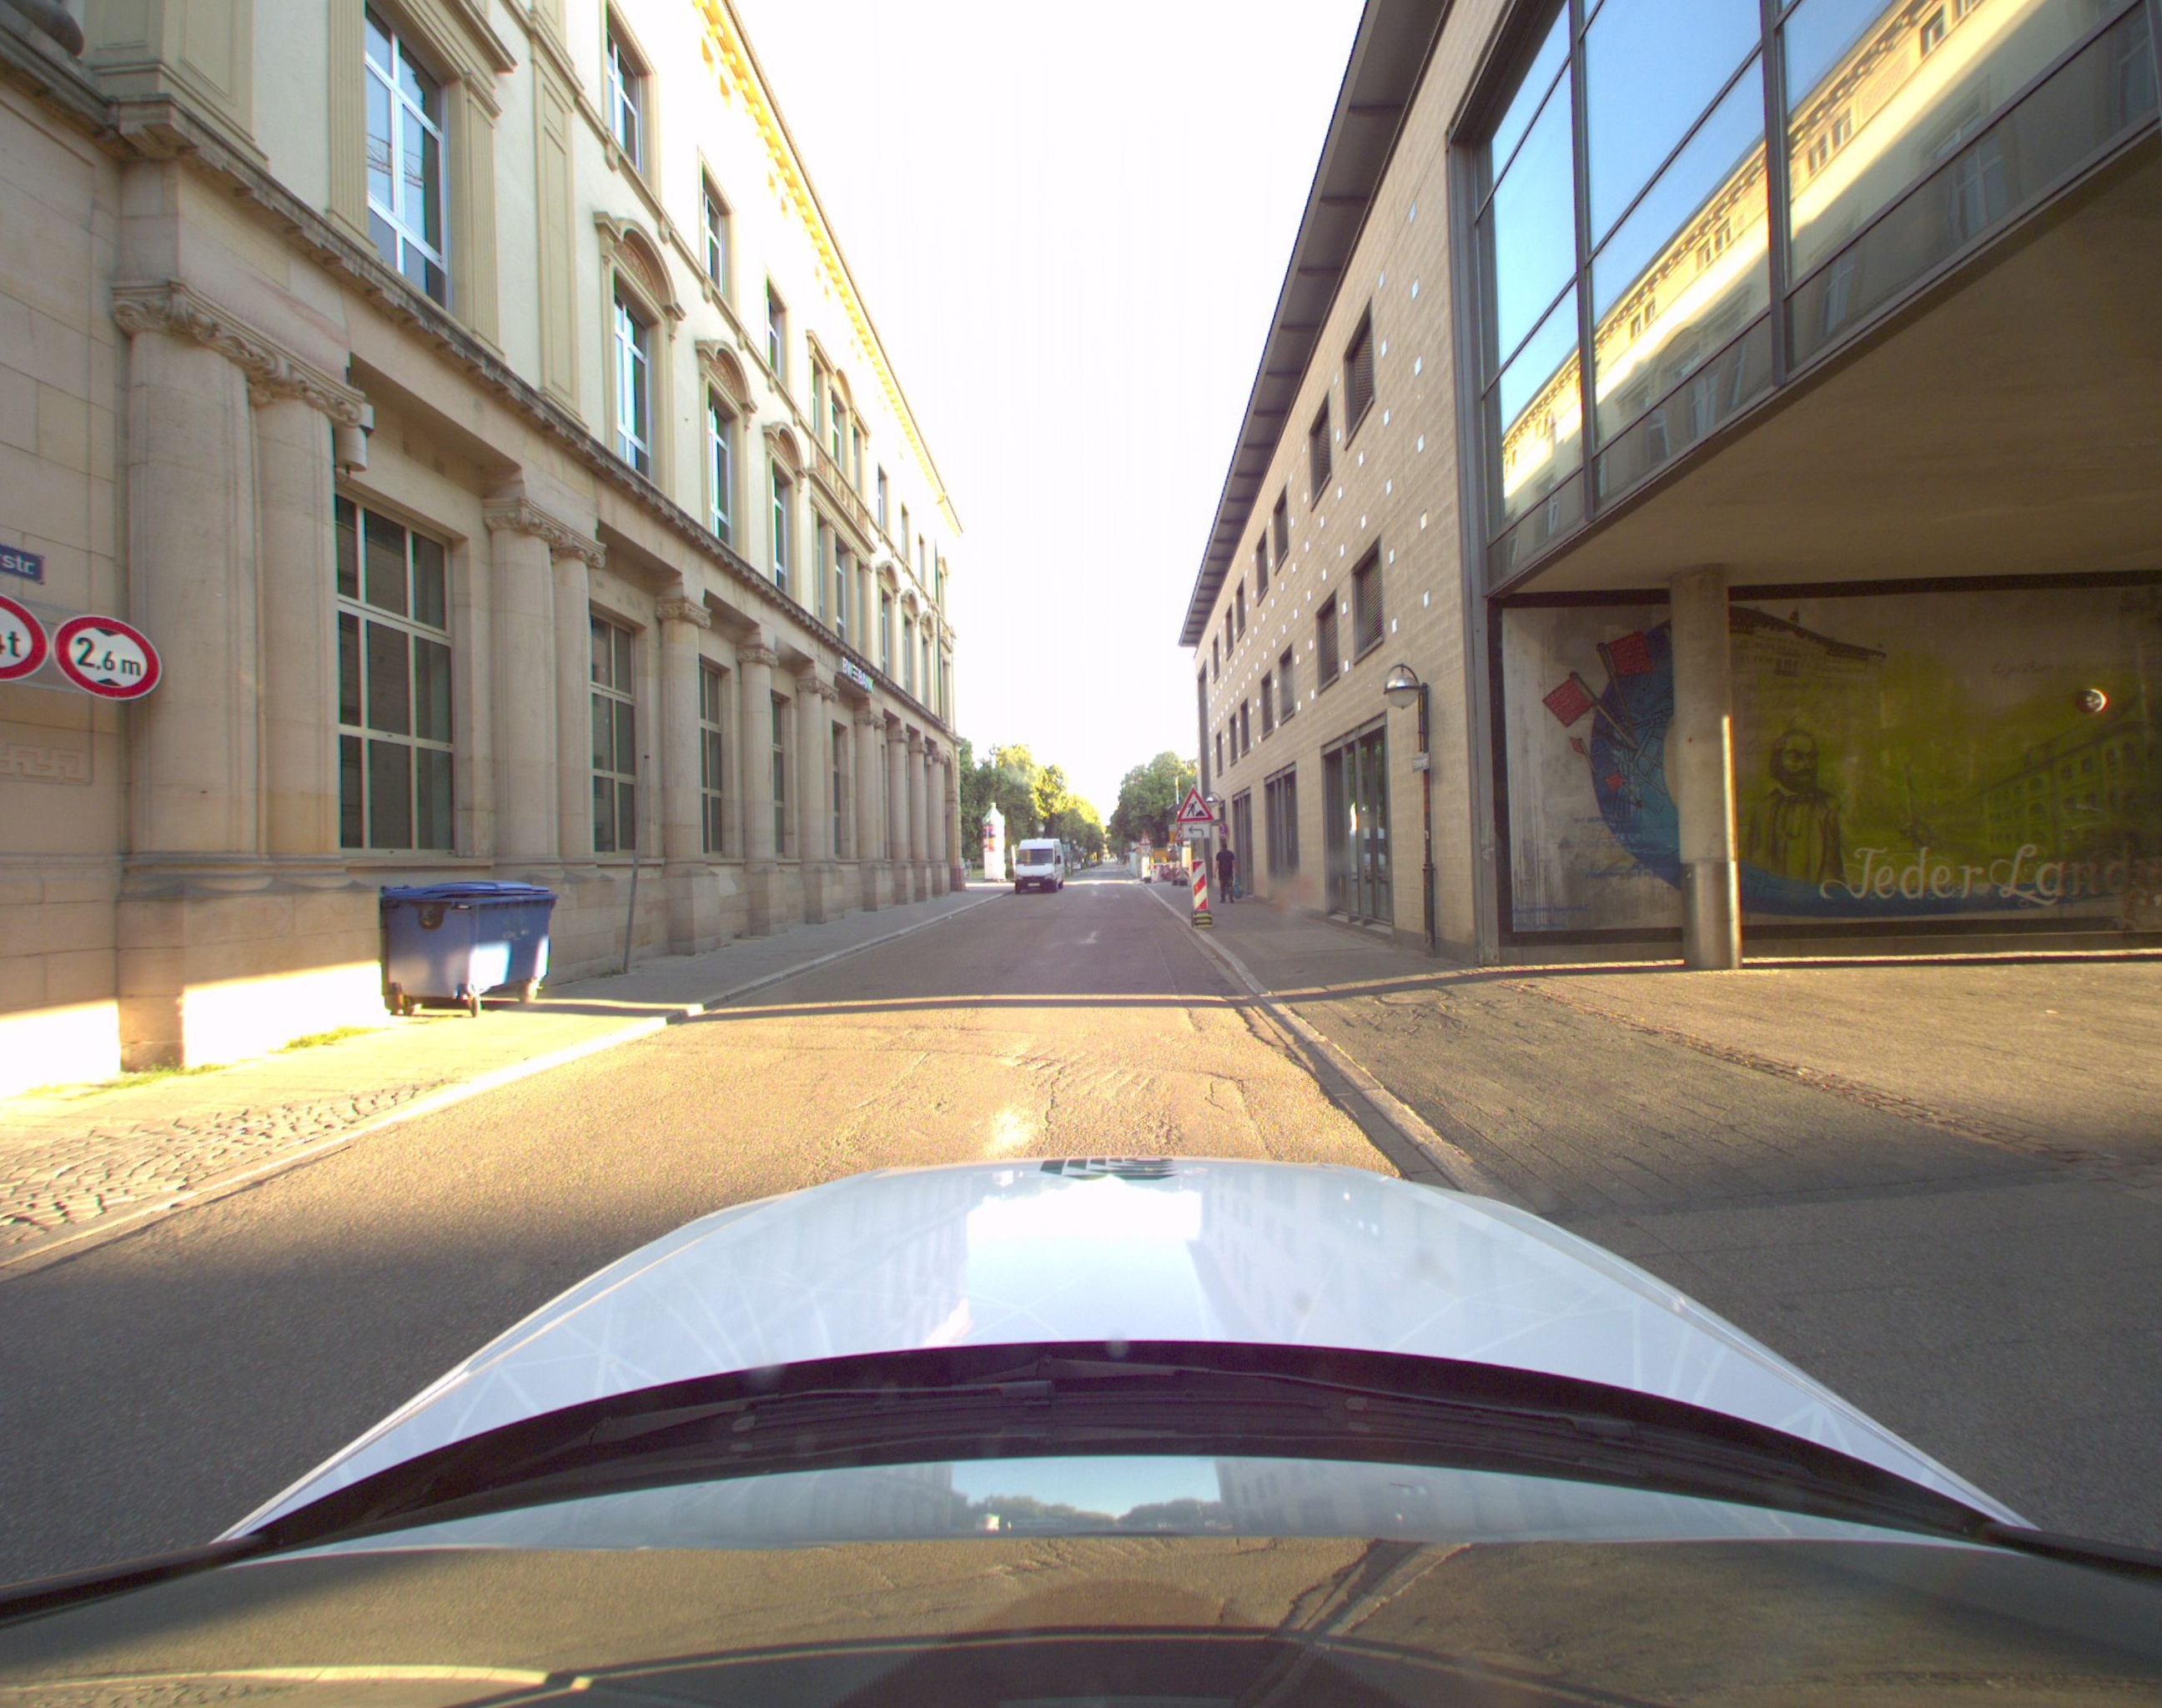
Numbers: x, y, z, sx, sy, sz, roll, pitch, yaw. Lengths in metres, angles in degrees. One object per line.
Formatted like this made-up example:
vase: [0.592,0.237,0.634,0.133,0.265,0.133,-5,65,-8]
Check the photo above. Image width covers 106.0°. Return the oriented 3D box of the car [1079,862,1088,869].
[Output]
car: [0.476,2.053,148.872,1.462,1.256,3.680,-1,0,2]

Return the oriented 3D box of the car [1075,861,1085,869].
car: [-0.190,1.907,136.590,1.462,1.256,3.680,-1,0,2]

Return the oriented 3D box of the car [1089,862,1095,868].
car: [2.979,2.931,216.568,1.462,1.404,3.680,-1,0,2]

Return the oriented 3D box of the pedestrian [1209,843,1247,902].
pedestrian: [4.361,0.540,24.198,0.919,1.702,0.869,-3,-1,1]

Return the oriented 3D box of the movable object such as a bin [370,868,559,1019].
movable object such as a bin: [-6.502,0.897,8.677,1.068,1.475,1.189,0,-1,5]

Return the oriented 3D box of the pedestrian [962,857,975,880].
pedestrian: [-8.603,1.078,62.251,0.742,1.702,0.704,-3,-1,9]

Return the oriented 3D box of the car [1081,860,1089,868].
car: [0.802,1.948,161.960,1.462,1.404,3.680,-1,0,2]

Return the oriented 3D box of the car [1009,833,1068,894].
car: [-1.945,0.439,39.130,1.988,2.512,6.474,-5,0,3]
